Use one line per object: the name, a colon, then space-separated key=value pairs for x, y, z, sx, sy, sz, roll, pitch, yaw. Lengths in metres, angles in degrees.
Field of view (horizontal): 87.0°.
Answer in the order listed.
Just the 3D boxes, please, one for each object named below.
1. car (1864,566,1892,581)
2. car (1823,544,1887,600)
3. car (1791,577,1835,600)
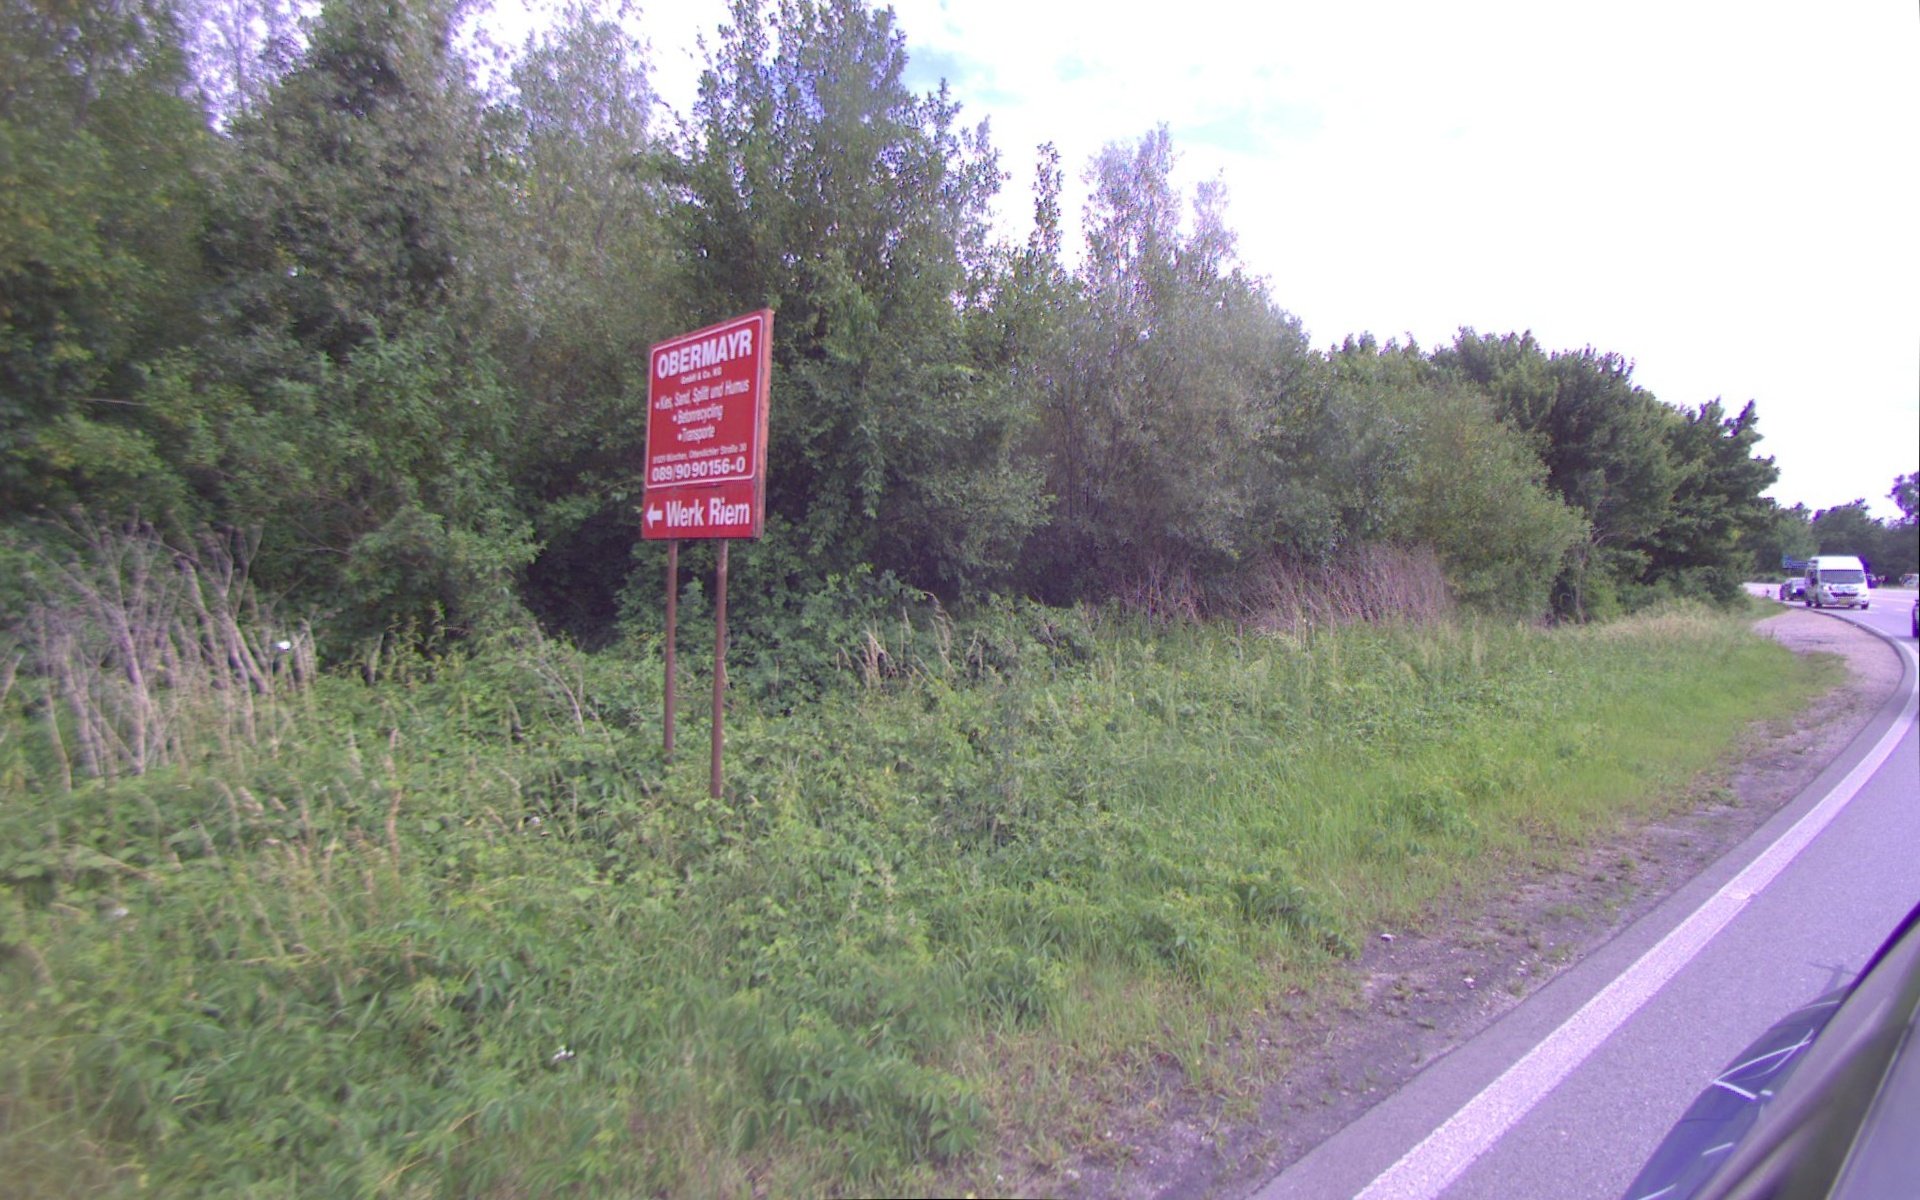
car: x=89.643 y=-2.621 z=98.857 sx=1.805 sy=1.459 sz=4.293 roll=1 pitch=2 yaw=39
car: x=46.549 y=-1.408 z=52.733 sx=2.209 sy=2.704 sz=5.166 roll=-2 pitch=0 yaw=39
car: x=53.525 y=-0.729 z=63.571 sx=1.721 sy=1.381 sz=3.950 roll=2 pitch=2 yaw=35
